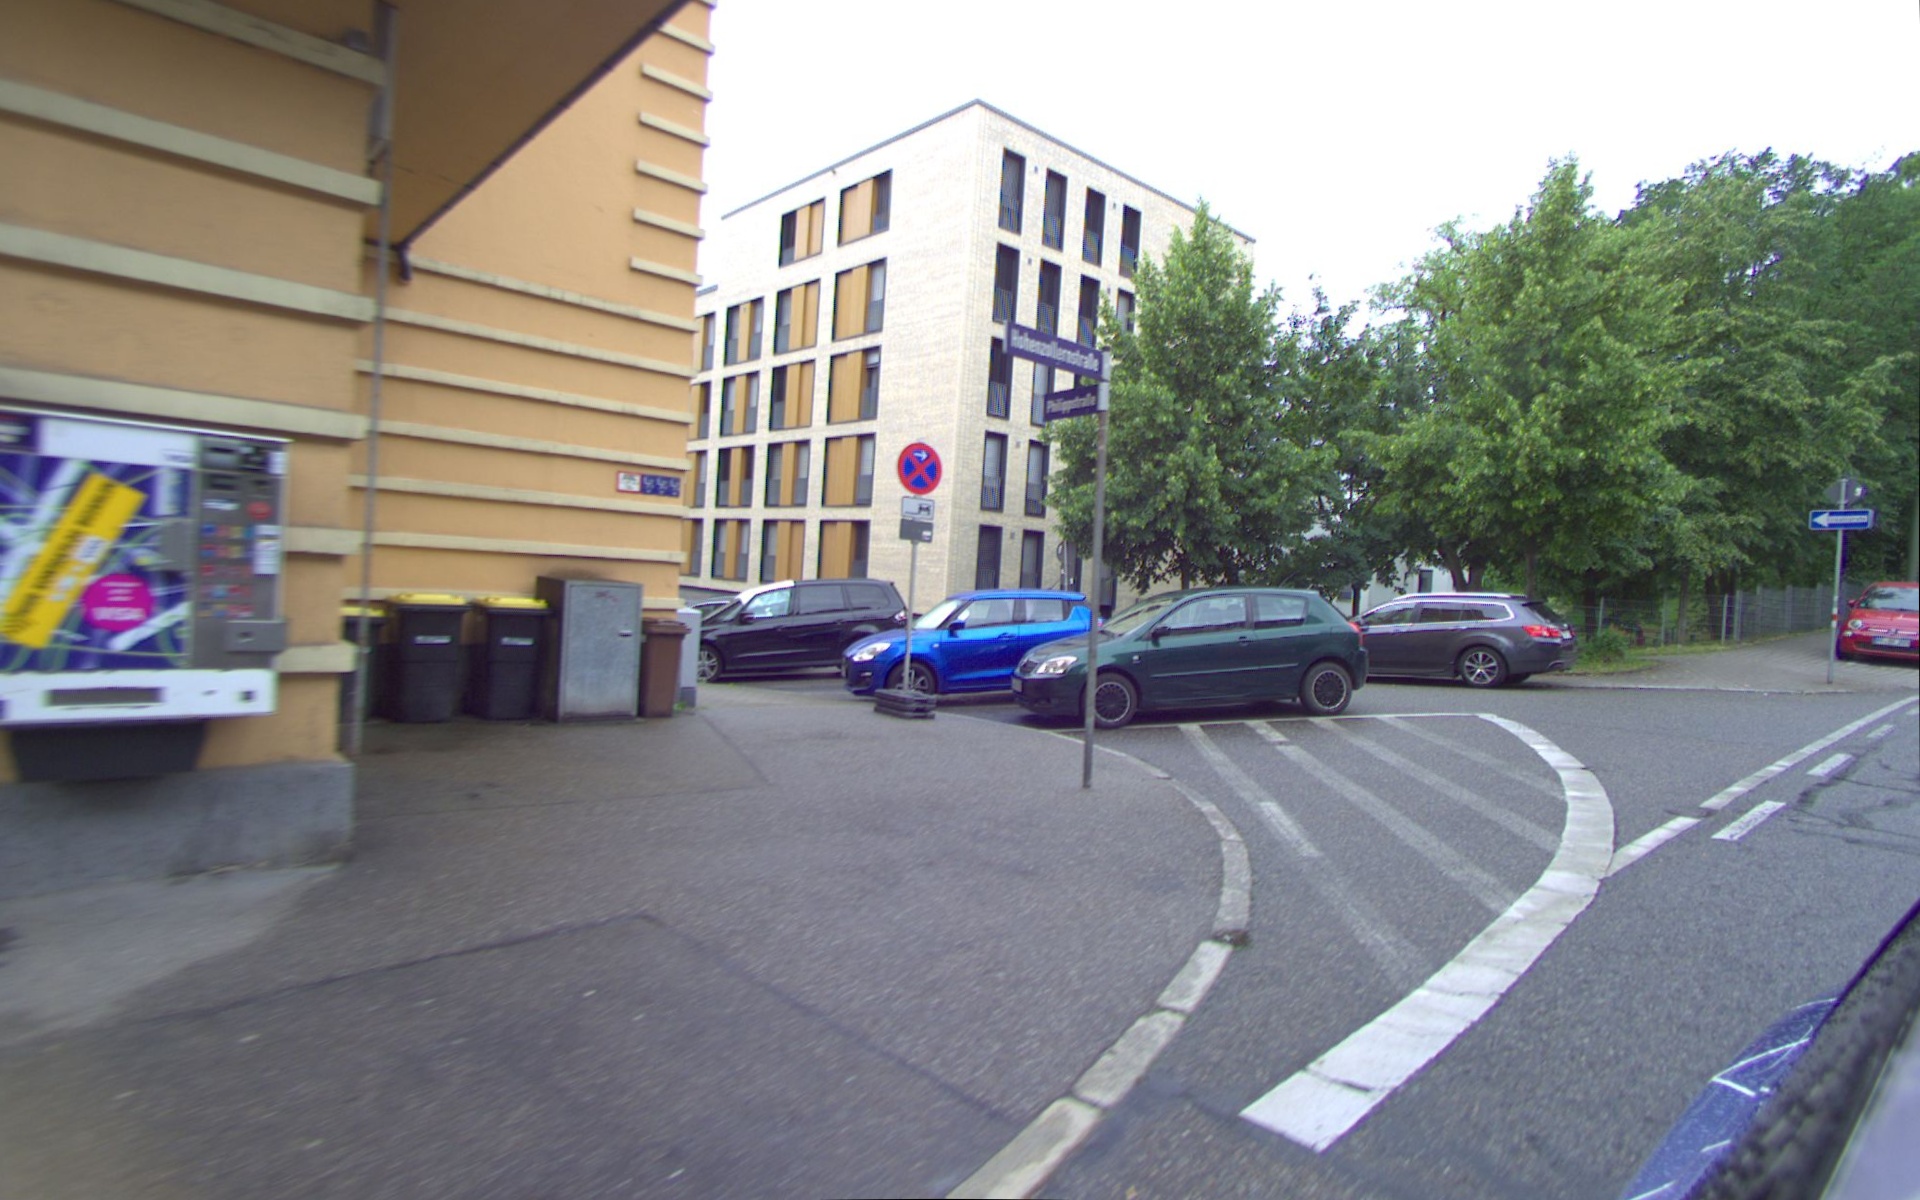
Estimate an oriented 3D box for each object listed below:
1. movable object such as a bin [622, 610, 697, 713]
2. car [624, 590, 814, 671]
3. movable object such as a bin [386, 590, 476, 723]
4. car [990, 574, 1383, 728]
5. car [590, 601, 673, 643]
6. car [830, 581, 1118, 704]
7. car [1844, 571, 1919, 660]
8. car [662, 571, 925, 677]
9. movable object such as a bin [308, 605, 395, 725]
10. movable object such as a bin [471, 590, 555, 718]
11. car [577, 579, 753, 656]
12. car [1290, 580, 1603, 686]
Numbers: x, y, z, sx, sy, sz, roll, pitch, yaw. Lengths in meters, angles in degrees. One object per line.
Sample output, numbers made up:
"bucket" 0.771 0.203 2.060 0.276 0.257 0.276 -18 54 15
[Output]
"movable object such as a bin" -2.971 0.600 10.013 0.504 0.942 0.506 3 2 -40
"car" -4.718 0.609 20.248 3.539 1.488 1.710 1 -1 -8
"movable object such as a bin" -4.465 0.474 8.536 0.503 1.070 0.506 6 -3 -40
"car" 2.534 0.511 11.829 4.025 1.487 1.858 -2 1 -10
"car" -12.860 0.843 39.504 1.707 1.557 4.073 3 -2 -39
"car" 0.132 0.531 13.727 3.560 1.511 1.712 1 1 -14
"car" 18.415 0.260 19.396 3.889 1.519 1.613 -1 5 -41
"car" -3.016 0.411 18.169 4.444 1.746 1.712 1 0 -17
"movable object such as a bin" -4.965 0.516 8.253 0.504 0.930 0.506 3 -1 -40
"movable object such as a bin" -3.952 0.466 8.946 0.504 1.054 0.506 3 2 -40
"car" -6.469 0.367 22.501 3.539 1.486 1.712 1 3 -8
"car" 7.905 0.481 16.702 1.970 1.517 4.269 2 -1 -45
